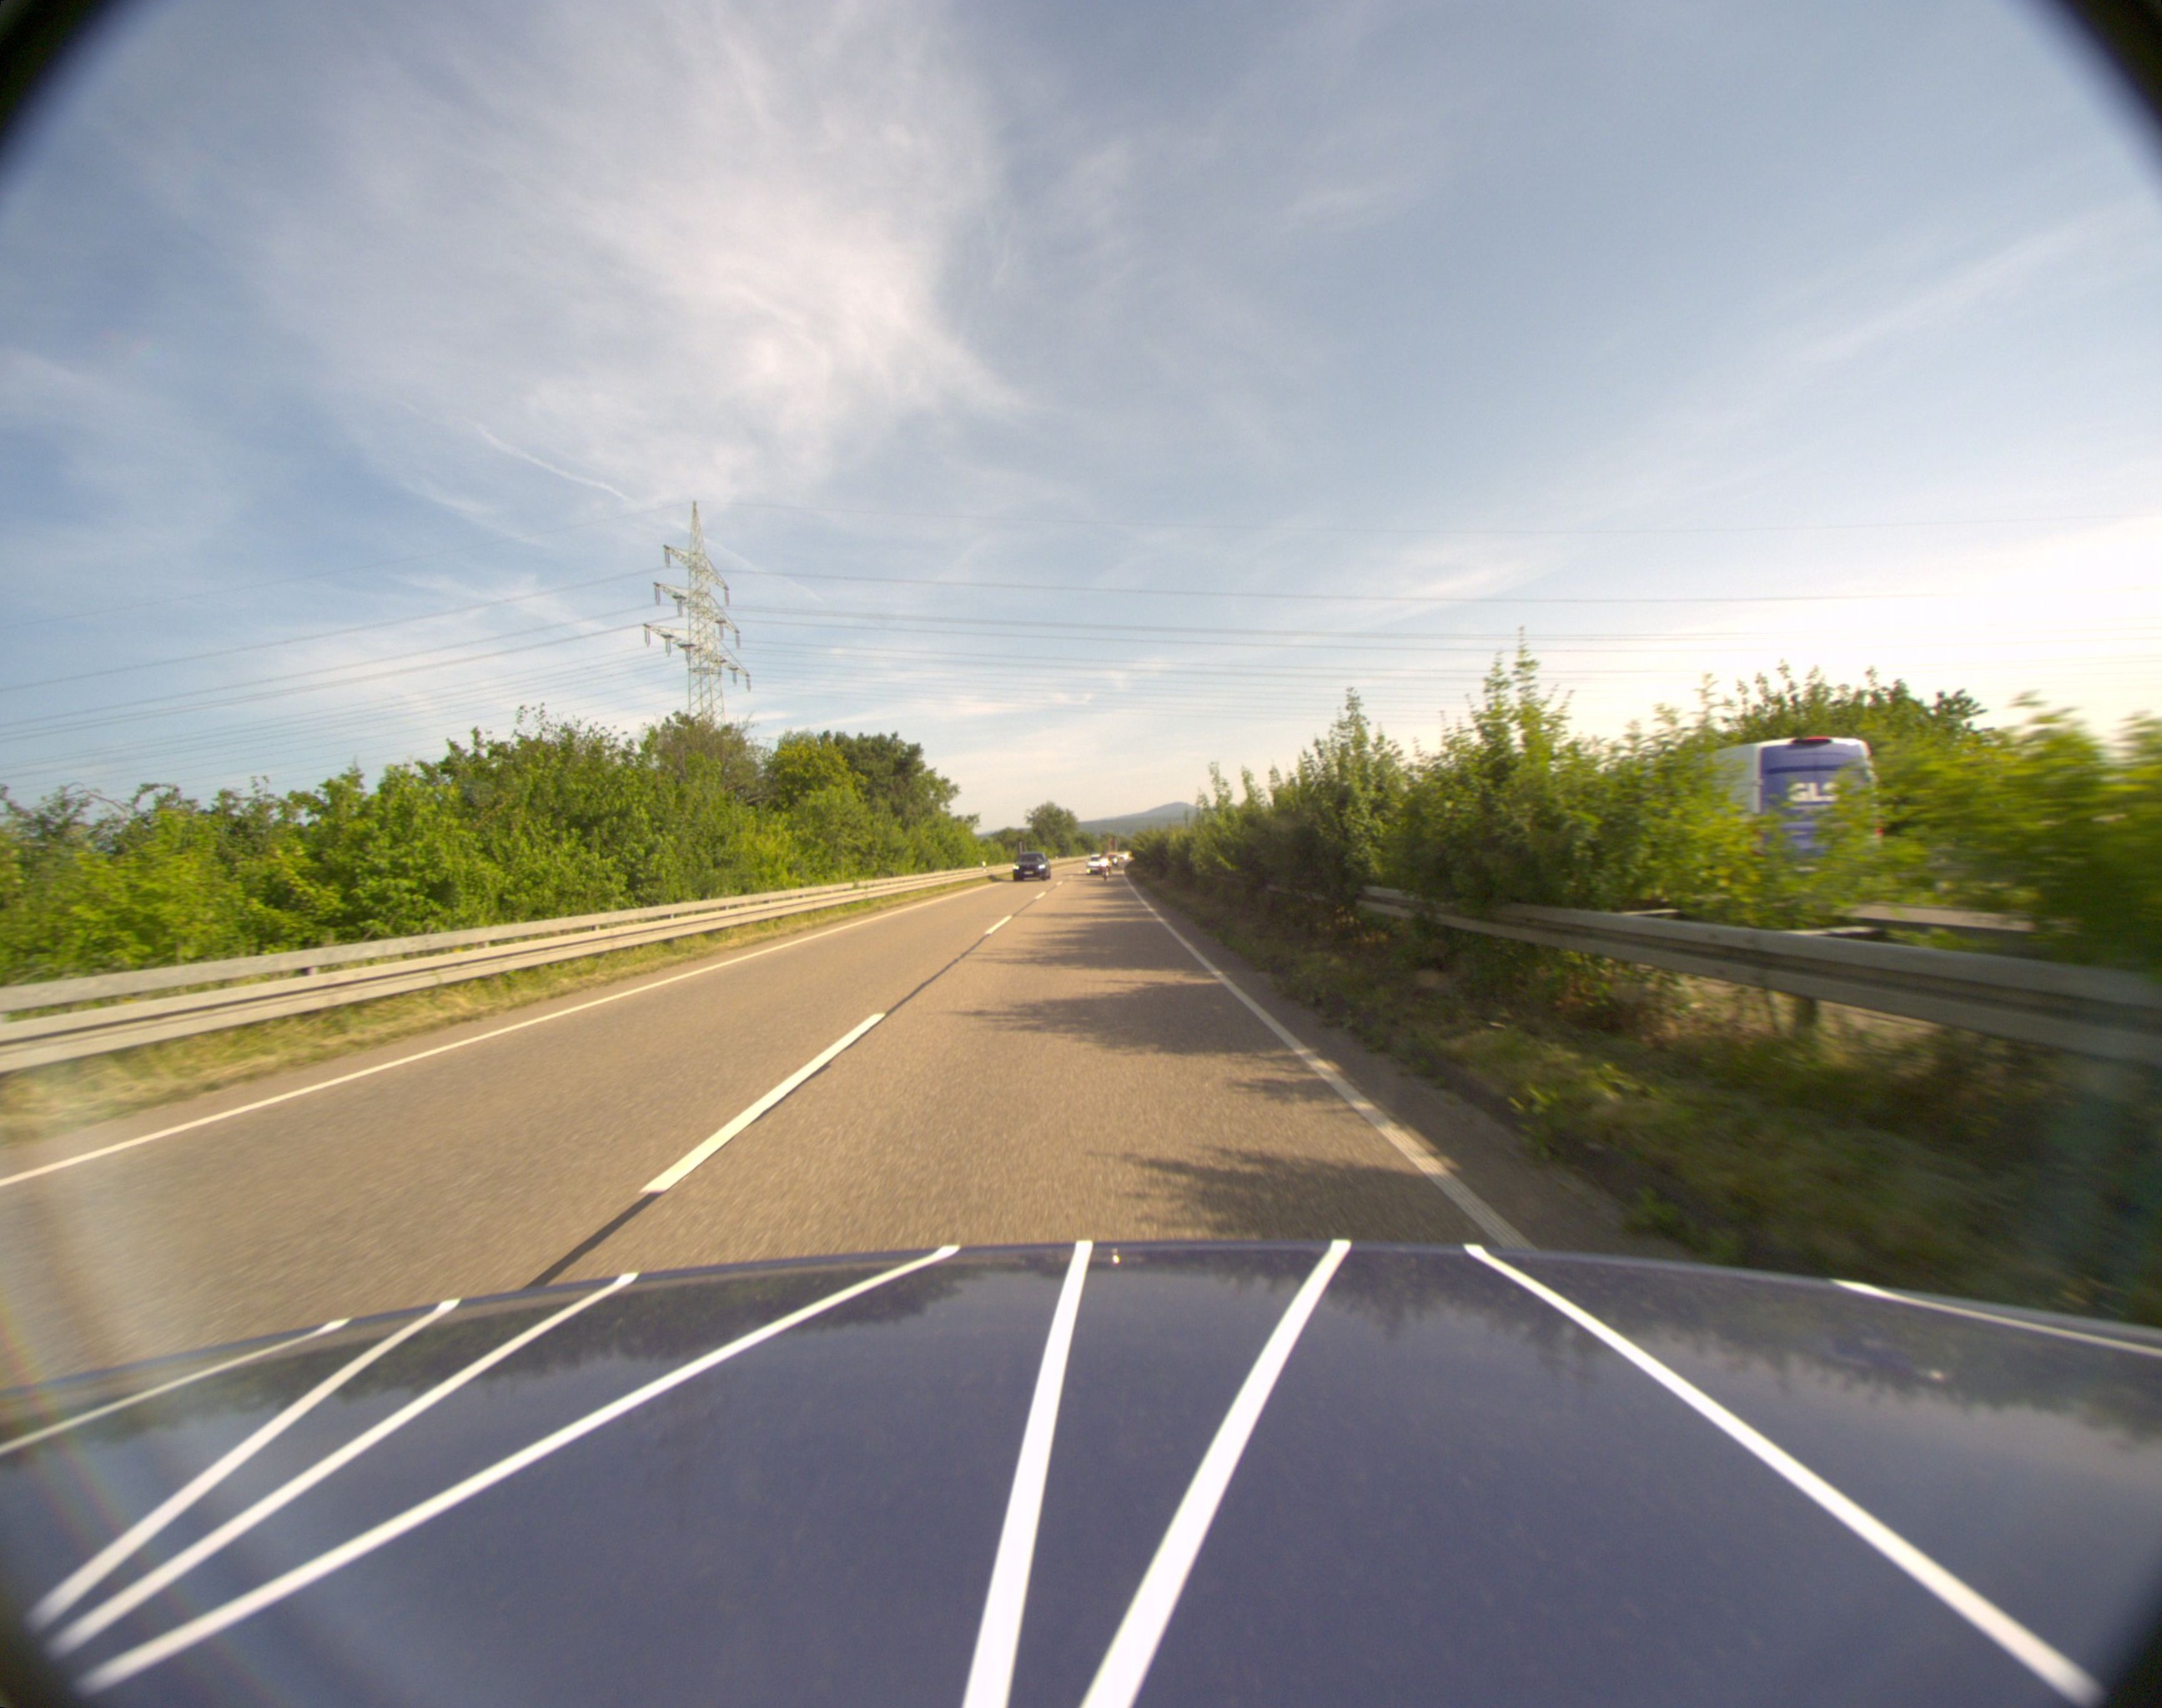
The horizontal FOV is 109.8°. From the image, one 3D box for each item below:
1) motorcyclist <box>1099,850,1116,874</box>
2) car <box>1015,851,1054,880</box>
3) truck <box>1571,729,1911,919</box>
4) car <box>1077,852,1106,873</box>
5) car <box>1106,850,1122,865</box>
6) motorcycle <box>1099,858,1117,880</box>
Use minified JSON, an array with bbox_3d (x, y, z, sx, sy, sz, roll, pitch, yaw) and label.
[{"bbox_3d":[1.506,0.443,43.293,0.937,1.344,1.142,-1,1,2],"label":"motorcyclist"},{"bbox_3d":[-2.777,0.681,46.524,1.877,1.630,4.000,-2,1,3],"label":"car"},{"bbox_3d":[11.719,-0.468,14.148,2.022,2.839,5.045,-2,0,2],"label":"truck"},{"bbox_3d":[0.746,0.624,56.344,1.869,1.454,4.082,-2,0,-2],"label":"car"},{"bbox_3d":[3.691,0.404,84.580,1.677,1.541,3.827,-2,1,3],"label":"car"},{"bbox_3d":[1.539,0.856,43.293,0.937,1.132,2.582,-1,1,2],"label":"motorcycle"}]
